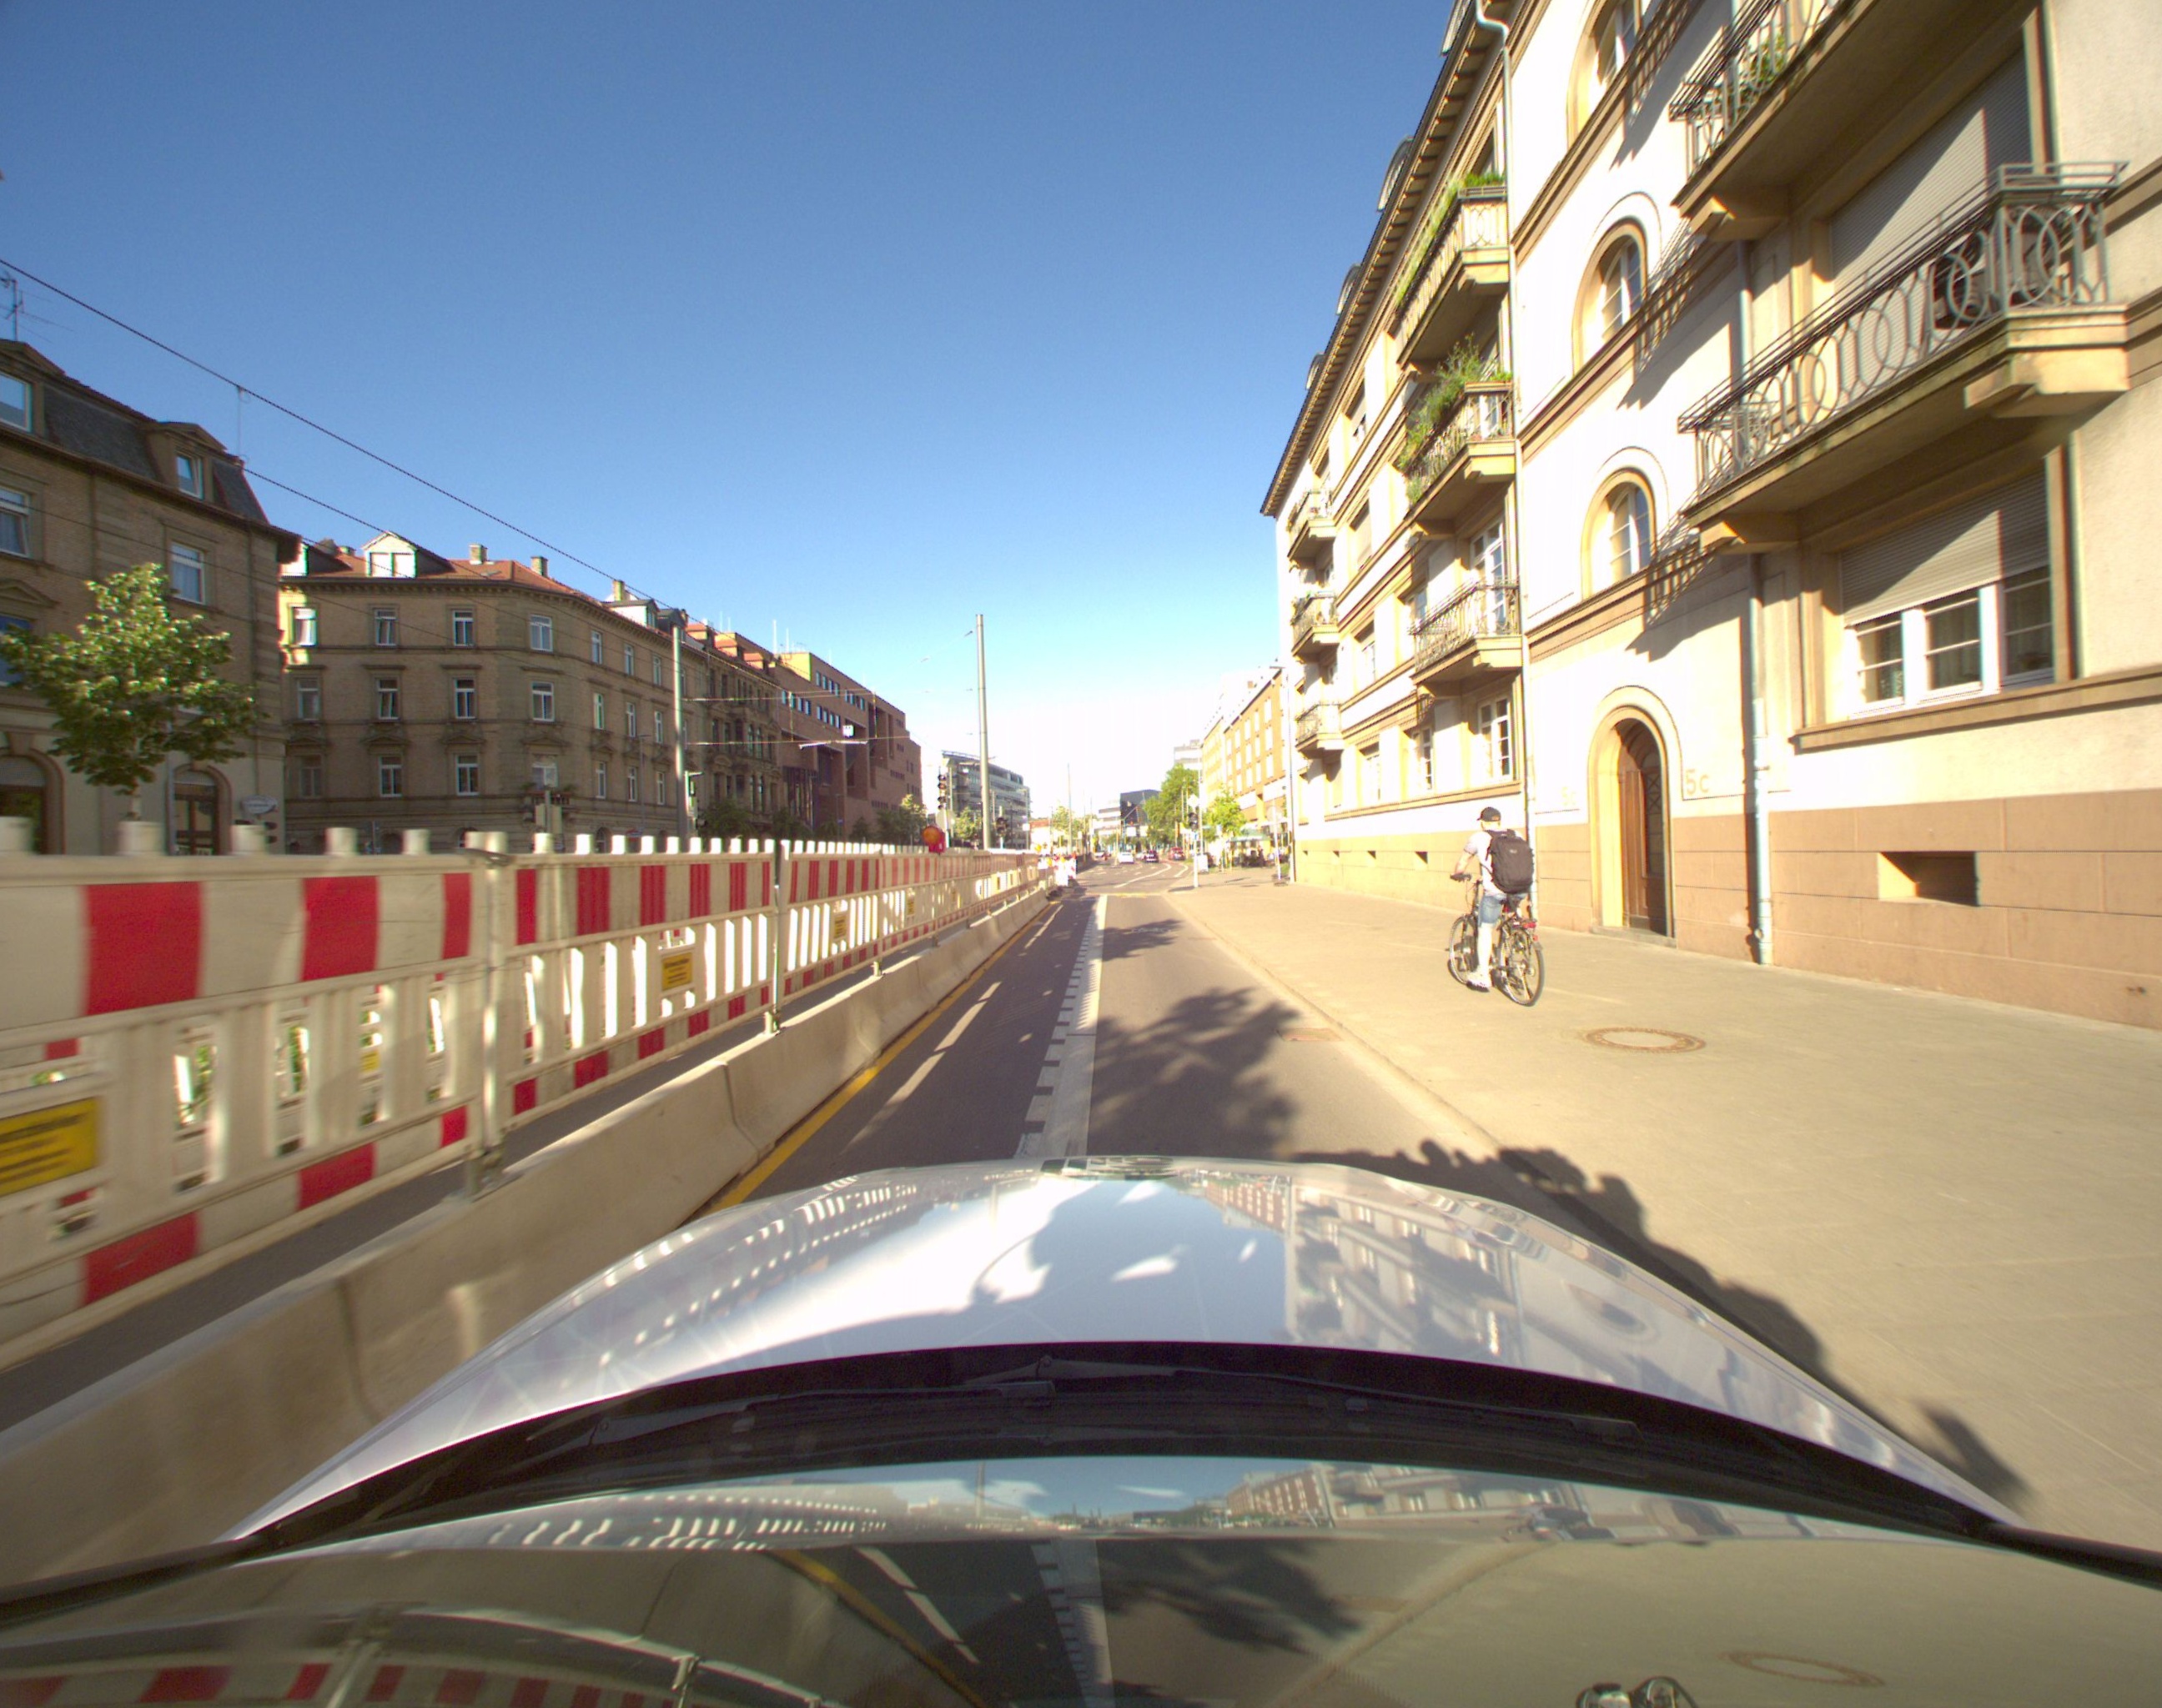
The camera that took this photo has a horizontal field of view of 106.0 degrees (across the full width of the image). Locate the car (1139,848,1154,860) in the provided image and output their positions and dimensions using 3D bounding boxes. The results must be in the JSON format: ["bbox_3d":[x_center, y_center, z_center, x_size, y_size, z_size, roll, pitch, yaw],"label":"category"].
[{"bbox_3d":[9.306,0.012,115.959,1.843,1.639,4.381,-1,0,2],"label":"car"}]

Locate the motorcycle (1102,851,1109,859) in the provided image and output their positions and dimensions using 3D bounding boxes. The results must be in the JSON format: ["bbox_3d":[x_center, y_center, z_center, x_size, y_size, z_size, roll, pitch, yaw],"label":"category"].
[{"bbox_3d":[3.870,0.131,128.746,1.015,1.312,2.917,0,0,3],"label":"motorcycle"}]

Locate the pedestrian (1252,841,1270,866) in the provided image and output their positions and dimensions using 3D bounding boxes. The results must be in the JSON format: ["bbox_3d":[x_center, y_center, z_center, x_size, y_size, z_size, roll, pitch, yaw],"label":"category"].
[{"bbox_3d":[13.353,-0.058,60.429,0.875,1.763,1.112,-4,-1,29],"label":"pedestrian"}]

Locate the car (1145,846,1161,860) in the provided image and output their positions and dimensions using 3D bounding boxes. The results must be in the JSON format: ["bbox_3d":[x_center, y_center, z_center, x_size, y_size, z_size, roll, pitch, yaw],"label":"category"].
[{"bbox_3d":[9.528,-0.167,108.540,1.967,1.759,4.636,0,0,3],"label":"car"}]

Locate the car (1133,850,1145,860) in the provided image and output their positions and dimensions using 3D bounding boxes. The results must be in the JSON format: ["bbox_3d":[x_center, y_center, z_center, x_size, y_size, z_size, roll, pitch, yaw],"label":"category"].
[{"bbox_3d":[9.465,0.178,133.057,1.843,1.497,4.382,-1,0,2],"label":"car"}]

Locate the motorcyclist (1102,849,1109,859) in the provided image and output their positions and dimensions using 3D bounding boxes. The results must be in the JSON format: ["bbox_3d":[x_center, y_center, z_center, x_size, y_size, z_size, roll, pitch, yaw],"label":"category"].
[{"bbox_3d":[3.866,-0.043,128.776,1.015,1.603,1.149,0,0,3],"label":"motorcyclist"}]

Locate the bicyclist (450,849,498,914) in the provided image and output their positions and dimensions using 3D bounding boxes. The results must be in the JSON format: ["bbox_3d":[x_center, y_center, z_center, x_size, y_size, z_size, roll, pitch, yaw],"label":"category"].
[{"bbox_3d":[-17.039,0.754,22.882,0.886,1.773,0.849,-1,0,-24],"label":"bicyclist"}]

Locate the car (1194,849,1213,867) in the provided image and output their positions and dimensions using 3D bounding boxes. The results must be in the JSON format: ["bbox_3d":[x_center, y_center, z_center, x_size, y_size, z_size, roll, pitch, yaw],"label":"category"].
[{"bbox_3d":[11.913,0.377,79.294,1.711,1.636,4.242,-3,0,9],"label":"car"}]

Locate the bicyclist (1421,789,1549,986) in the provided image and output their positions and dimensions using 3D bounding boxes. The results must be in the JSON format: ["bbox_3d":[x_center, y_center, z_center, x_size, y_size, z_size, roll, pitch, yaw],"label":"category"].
[{"bbox_3d":[3.862,0.303,7.860,0.730,1.763,0.938,-2,0,1],"label":"bicyclist"}]

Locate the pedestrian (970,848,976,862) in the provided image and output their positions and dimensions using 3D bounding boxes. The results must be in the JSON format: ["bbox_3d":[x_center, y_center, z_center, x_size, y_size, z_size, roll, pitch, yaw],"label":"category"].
[{"bbox_3d":[-11.637,0.077,88.005,0.537,1.459,0.643,0,0,3],"label":"pedestrian"}]

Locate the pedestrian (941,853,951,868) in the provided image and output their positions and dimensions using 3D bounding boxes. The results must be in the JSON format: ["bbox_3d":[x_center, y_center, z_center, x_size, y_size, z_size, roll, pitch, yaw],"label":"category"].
[{"bbox_3d":[-11.853,0.593,71.741,0.643,1.309,0.722,-4,0,2],"label":"pedestrian"}]

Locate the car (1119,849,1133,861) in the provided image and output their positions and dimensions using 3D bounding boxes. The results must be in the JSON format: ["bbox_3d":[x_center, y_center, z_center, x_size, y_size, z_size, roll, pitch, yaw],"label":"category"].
[{"bbox_3d":[5.687,0.130,103.000,1.773,1.414,4.821,0,0,2],"label":"car"}]

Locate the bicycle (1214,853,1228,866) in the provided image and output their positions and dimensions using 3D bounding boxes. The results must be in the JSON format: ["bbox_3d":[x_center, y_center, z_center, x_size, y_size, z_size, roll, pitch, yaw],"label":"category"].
[{"bbox_3d":[11.904,0.478,69.351,0.763,1.081,1.997,-7,-1,-1],"label":"bicycle"}]

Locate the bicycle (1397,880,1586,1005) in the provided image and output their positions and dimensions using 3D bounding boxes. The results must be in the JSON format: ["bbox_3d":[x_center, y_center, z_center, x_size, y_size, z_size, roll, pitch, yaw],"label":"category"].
[{"bbox_3d":[3.867,0.777,7.930,0.764,0.953,2.199,-2,0,2],"label":"bicycle"}]

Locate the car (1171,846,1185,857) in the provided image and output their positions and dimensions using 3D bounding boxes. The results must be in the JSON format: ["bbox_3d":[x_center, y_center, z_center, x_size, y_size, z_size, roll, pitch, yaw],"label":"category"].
[{"bbox_3d":[14.342,-0.326,120.525,1.839,1.560,4.636,0,1,3],"label":"car"}]

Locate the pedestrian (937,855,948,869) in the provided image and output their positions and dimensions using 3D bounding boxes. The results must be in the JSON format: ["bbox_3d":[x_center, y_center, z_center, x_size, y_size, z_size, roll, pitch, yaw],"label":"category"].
[{"bbox_3d":[-11.830,0.678,69.699,0.718,1.168,0.722,-4,0,2],"label":"pedestrian"}]

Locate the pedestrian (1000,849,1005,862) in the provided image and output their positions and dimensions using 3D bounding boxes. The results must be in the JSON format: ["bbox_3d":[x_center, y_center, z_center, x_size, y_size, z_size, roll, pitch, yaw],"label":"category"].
[{"bbox_3d":[-10.096,0.155,104.705,0.637,1.695,0.541,0,0,2],"label":"pedestrian"}]
